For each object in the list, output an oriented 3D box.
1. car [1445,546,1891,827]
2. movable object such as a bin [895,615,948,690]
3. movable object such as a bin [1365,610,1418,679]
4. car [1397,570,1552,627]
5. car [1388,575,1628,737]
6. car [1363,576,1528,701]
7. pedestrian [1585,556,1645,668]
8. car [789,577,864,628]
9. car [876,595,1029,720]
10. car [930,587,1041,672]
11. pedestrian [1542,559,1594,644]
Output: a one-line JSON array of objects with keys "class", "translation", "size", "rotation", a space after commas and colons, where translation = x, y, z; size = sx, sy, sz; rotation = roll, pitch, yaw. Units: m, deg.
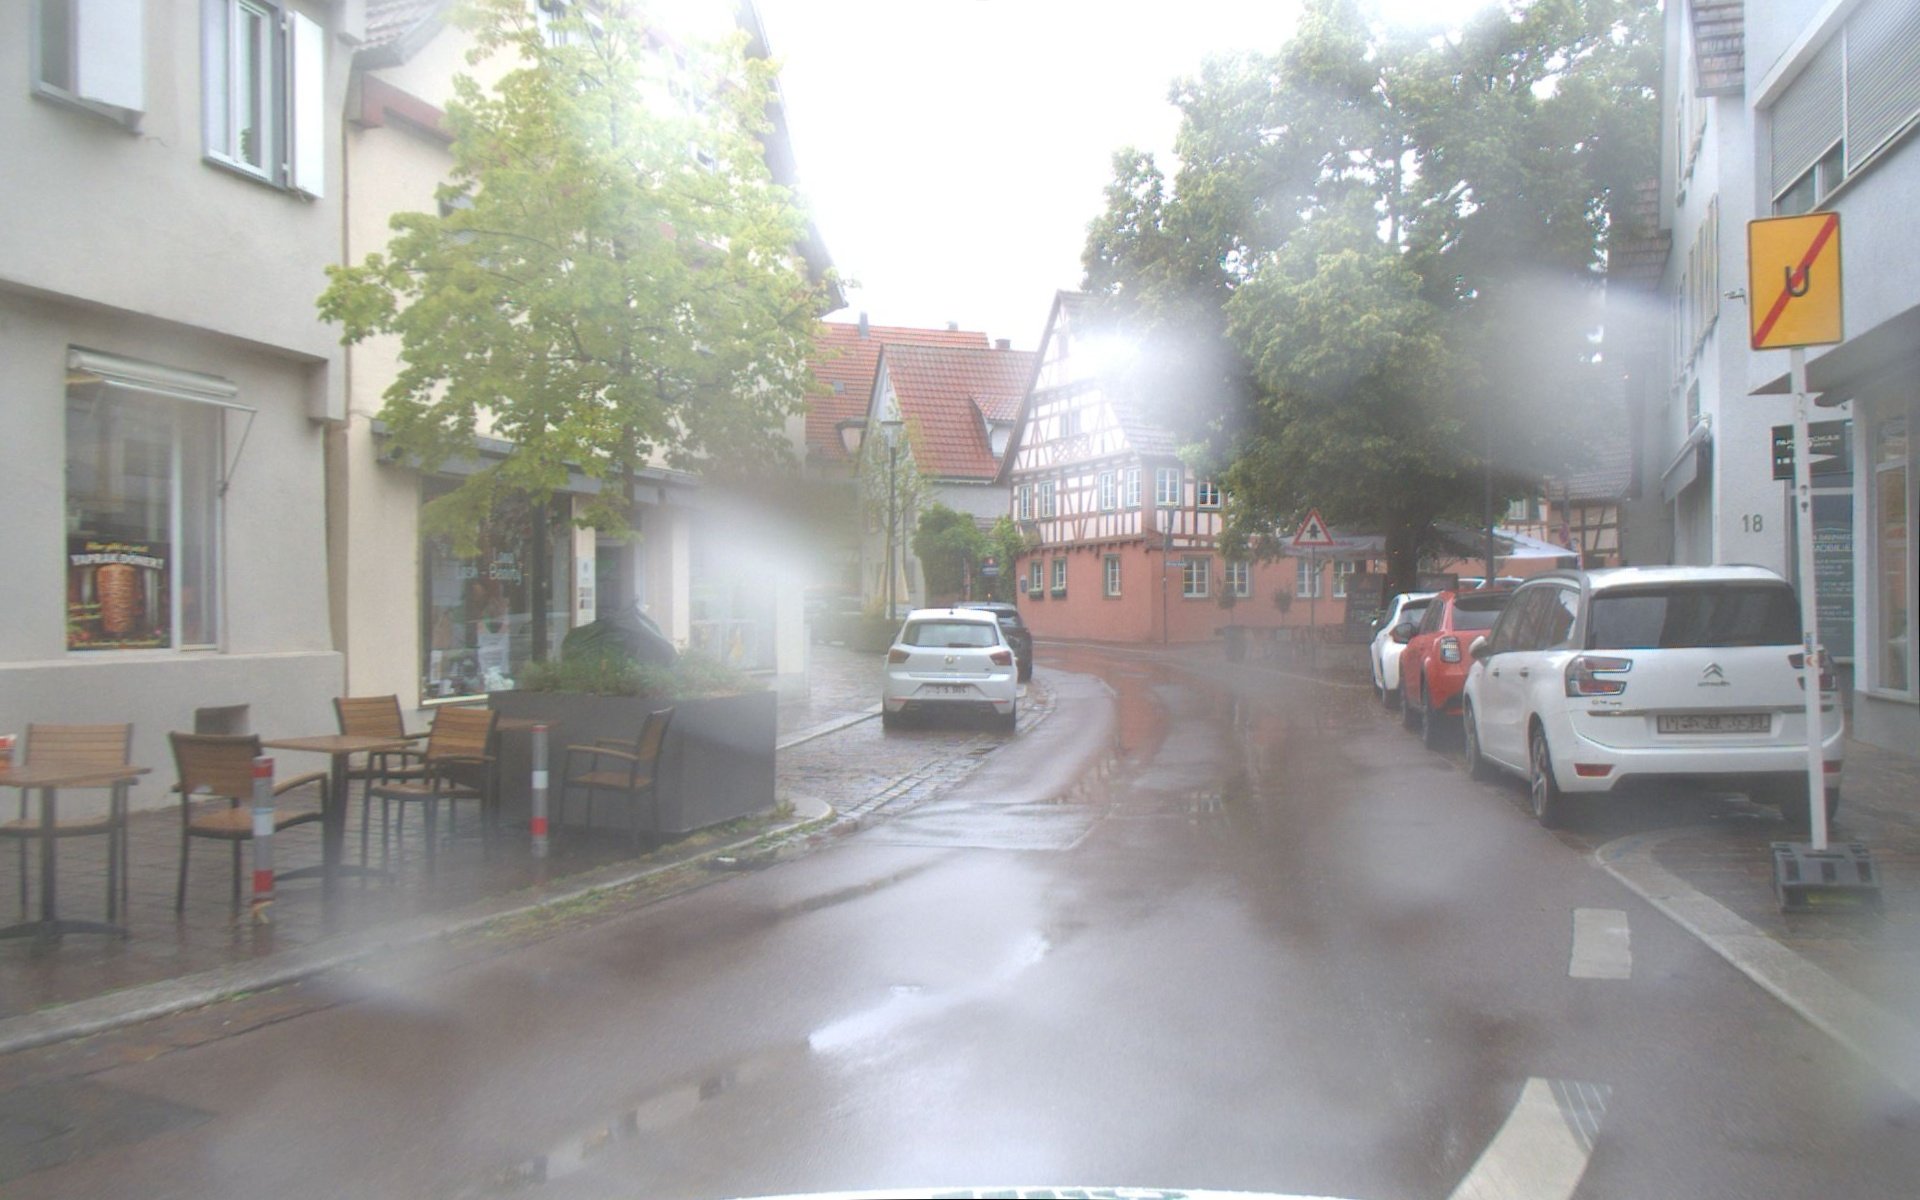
[{"class": "car", "translation": [4.781, 0.530, 11.905], "size": [1.749, 1.627, 4.443], "rotation": [-1, -1, 7]}, {"class": "movable object such as a bin", "translation": [-0.614, 0.843, 26.605], "size": [0.685, 1.141, 0.719], "rotation": [2, -2, 8]}, {"class": "movable object such as a bin", "translation": [6.980, 0.720, 26.786], "size": [0.710, 1.102, 0.605], "rotation": [0, -2, 0]}, {"class": "car", "translation": [16.282, -0.066, 52.352], "size": [4.541, 1.661, 1.985], "rotation": [-1, 2, -24]}, {"class": "car", "translation": [5.594, 0.577, 17.349], "size": [1.749, 1.494, 3.952], "rotation": [0, -2, 9]}, {"class": "car", "translation": [6.689, 0.508, 23.140], "size": [1.749, 1.583, 3.953], "rotation": [-1, 0, 10]}, {"class": "pedestrian", "translation": [10.430, 0.197, 26.351], "size": [0.866, 1.743, 0.889], "rotation": [0, -2, 21]}, {"class": "car", "translation": [-5.182, 0.064, 63.671], "size": [1.866, 1.843, 3.977], "rotation": [2, 0, -20]}, {"class": "car", "translation": [-0.056, 0.727, 21.738], "size": [1.811, 1.477, 4.072], "rotation": [0, -1, 1]}, {"class": "car", "translation": [0.442, 0.621, 33.122], "size": [1.838, 1.568, 4.396], "rotation": [1, -2, -4]}, {"class": "pedestrian", "translation": [12.631, 0.037, 34.369], "size": [0.892, 1.728, 0.861], "rotation": [-2, -2, 25]}]
